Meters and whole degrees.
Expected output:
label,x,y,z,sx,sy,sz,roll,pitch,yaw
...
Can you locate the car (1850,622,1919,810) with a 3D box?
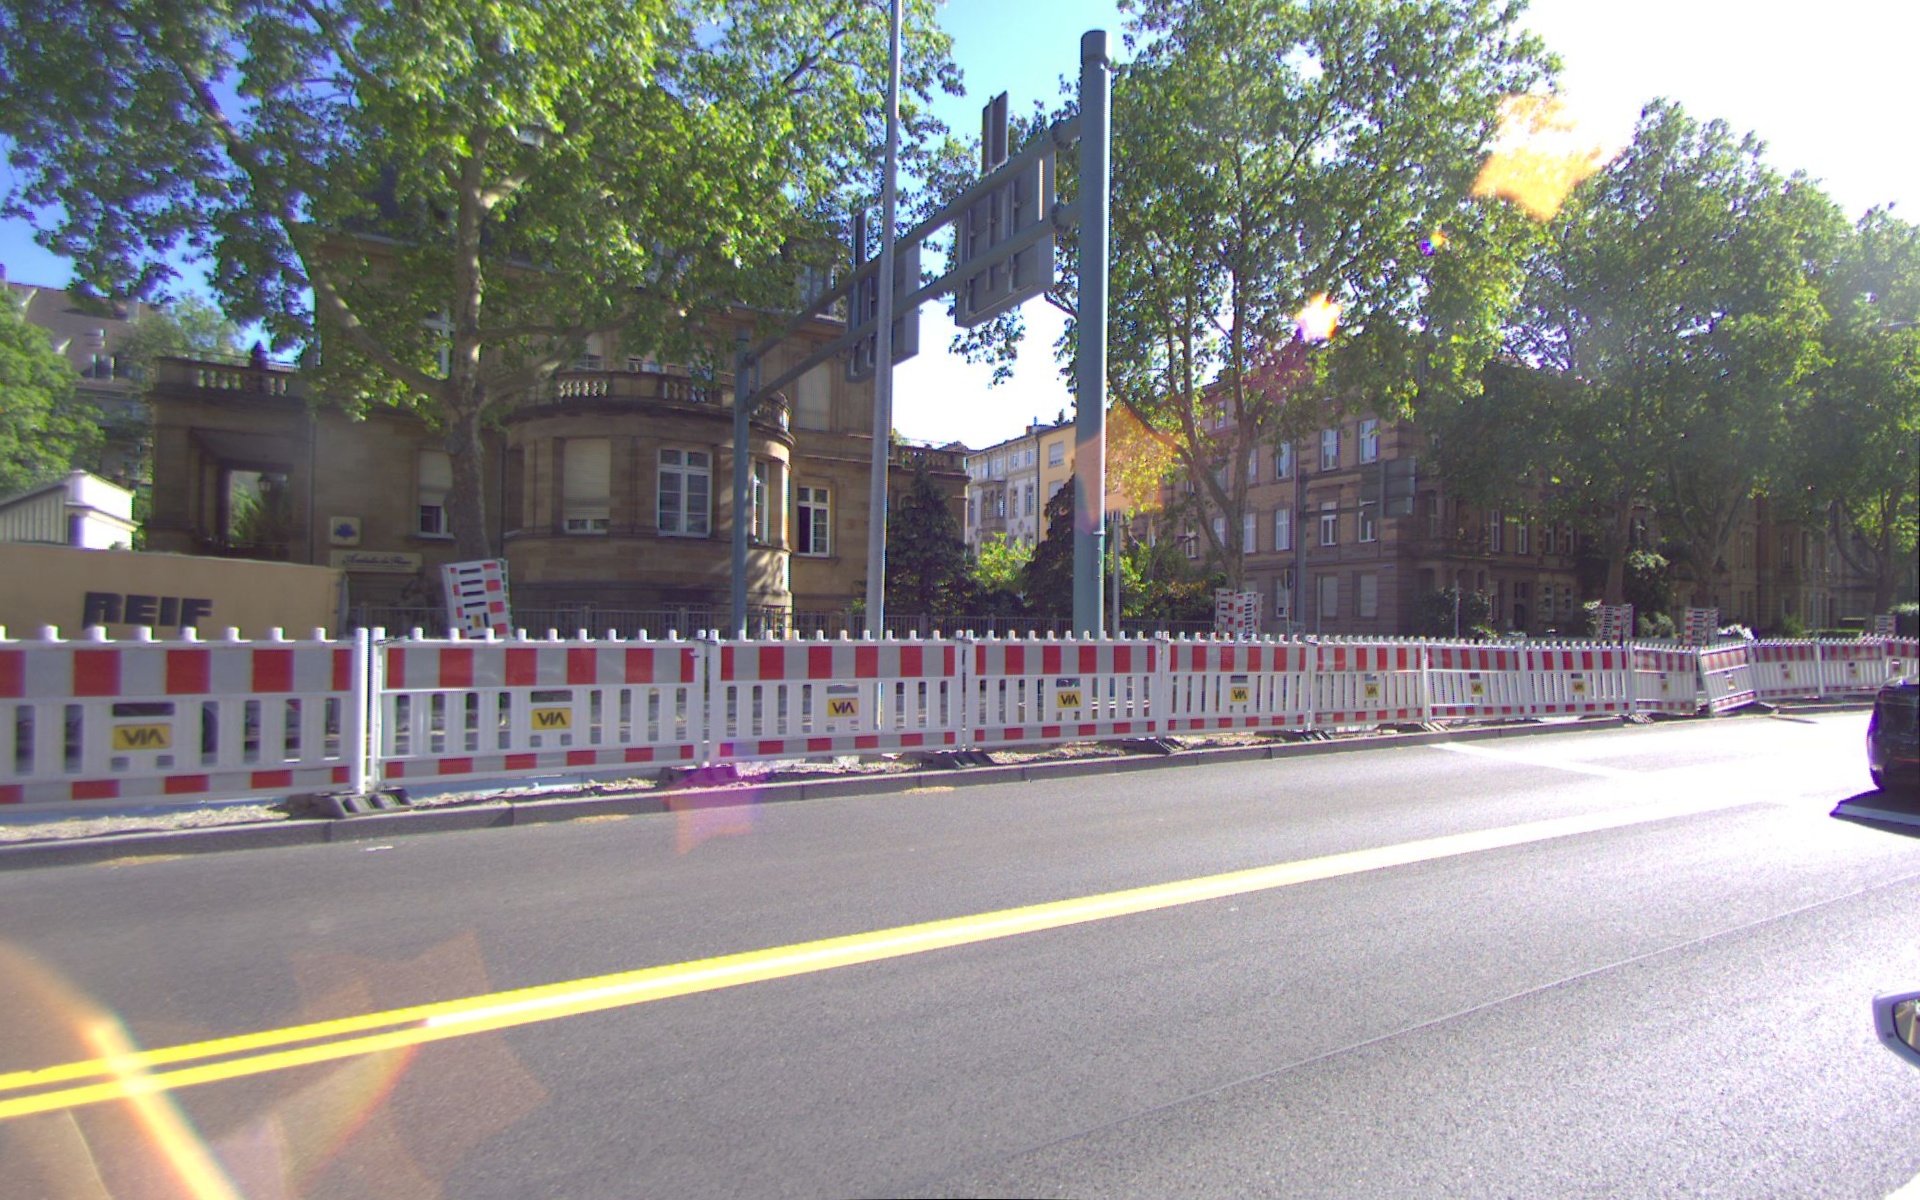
label,x,y,z,sx,sy,sz,roll,pitch,yaw
car,9.862,0.990,8.805,4.424,1.502,1.829,2,-1,-31
